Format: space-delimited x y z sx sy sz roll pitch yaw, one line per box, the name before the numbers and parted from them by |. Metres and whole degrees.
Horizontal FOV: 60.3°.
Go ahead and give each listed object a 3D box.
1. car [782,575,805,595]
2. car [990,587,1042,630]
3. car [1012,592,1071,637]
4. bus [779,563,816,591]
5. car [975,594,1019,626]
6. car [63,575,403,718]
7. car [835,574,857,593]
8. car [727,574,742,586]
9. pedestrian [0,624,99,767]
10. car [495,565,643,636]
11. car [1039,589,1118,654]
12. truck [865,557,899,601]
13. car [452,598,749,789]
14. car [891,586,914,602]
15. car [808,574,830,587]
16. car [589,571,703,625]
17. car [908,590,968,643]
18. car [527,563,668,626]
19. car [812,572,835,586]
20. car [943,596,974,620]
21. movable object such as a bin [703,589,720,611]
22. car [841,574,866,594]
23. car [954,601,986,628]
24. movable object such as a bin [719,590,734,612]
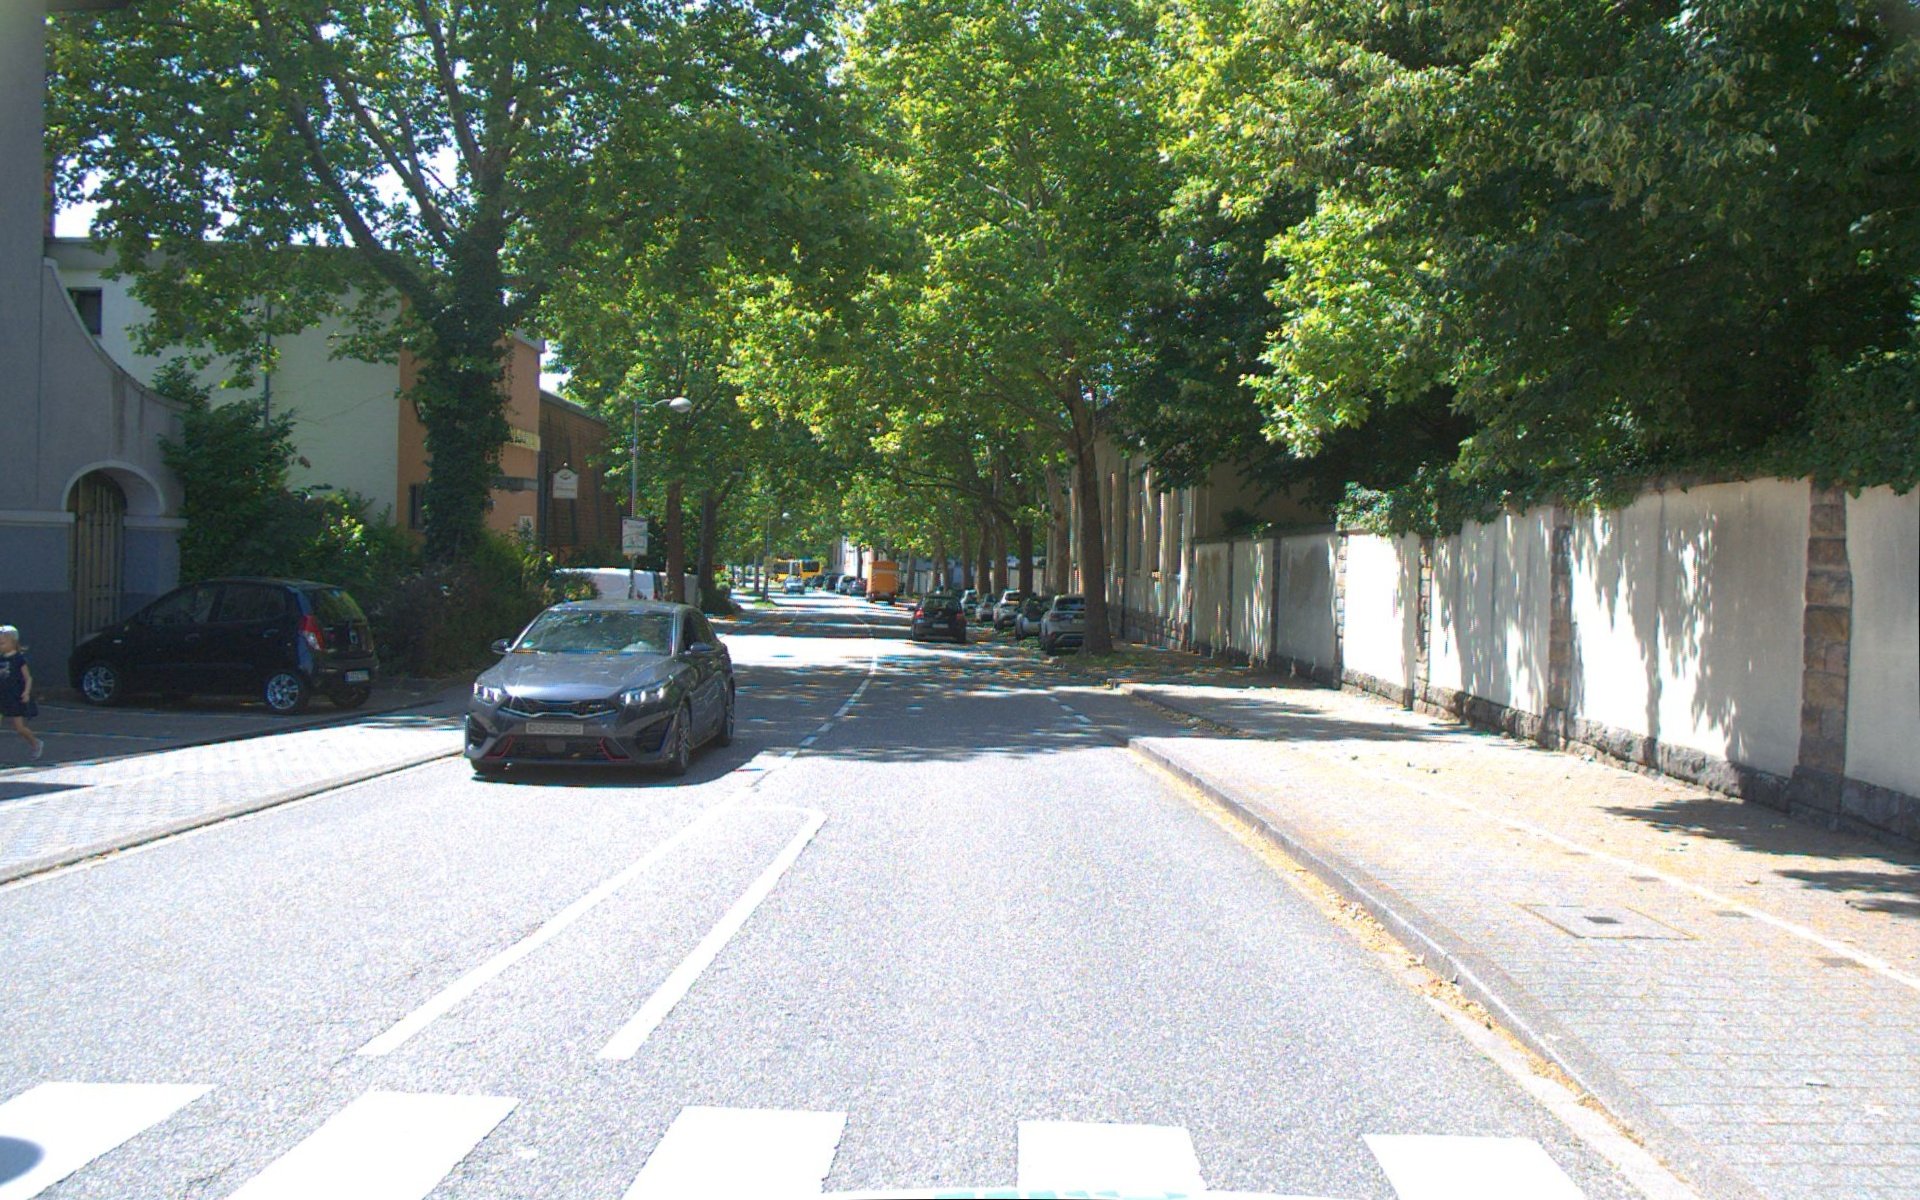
car | -15.166 -1.367 150.300 1.956 1.695 3.993 1 -1 -8
car | 2.255 0.307 68.131 1.771 1.718 4.749 0 0 -3
car | 2.749 0.481 56.590 1.589 1.465 4.430 0 0 -3
bus | -19.750 -2.762 200.279 2.619 3.205 11.153 1 0 -15
car | 1.736 0.461 78.897 1.732 1.458 3.872 0 0 -4
car | -8.705 0.526 19.954 3.309 1.573 1.725 1 0 7
car | -10.992 -1.546 159.161 1.844 1.715 3.993 1 -1 -7
car | -28.490 -2.502 208.768 1.680 1.473 4.049 1 0 -10
pedestrian | -7.890 0.784 13.940 0.738 1.141 0.898 1 0 4
car | -11.483 0.012 48.801 3.910 1.824 1.866 3 0 -6
car | 3.171 0.540 45.100 1.706 1.584 4.779 0 1 -1
truck | -5.969 -1.575 126.100 2.324 3.189 5.763 1 -1 -5
car | -3.073 0.722 15.051 1.732 1.451 4.392 1 0 0
car | -5.312 -0.577 151.308 1.733 1.398 3.724 2 0 -7
car | -15.375 -2.080 180.440 1.737 1.398 3.715 0 0 -15
car | -12.111 -0.072 64.013 4.049 1.835 1.901 3 0 -6
car | -0.731 0.490 52.291 1.677 1.472 4.056 1 1 -3
car | -12.203 -0.186 55.891 4.338 1.835 1.901 3 0 -6
car | -14.141 -2.202 171.173 1.737 1.398 3.714 0 0 -15
car | -0.136 0.503 106.070 1.732 1.491 3.872 0 0 -4
movable object such as a bin | -12.350 0.006 82.150 0.720 1.097 0.701 1 0 -3
car | -9.807 -1.475 152.085 1.845 1.715 3.990 1 -1 -10
car | 0.531 0.808 93.377 1.546 1.491 3.872 0 0 -4
movable object such as a bin | -11.598 0.035 82.244 0.611 1.066 0.620 1 0 2
